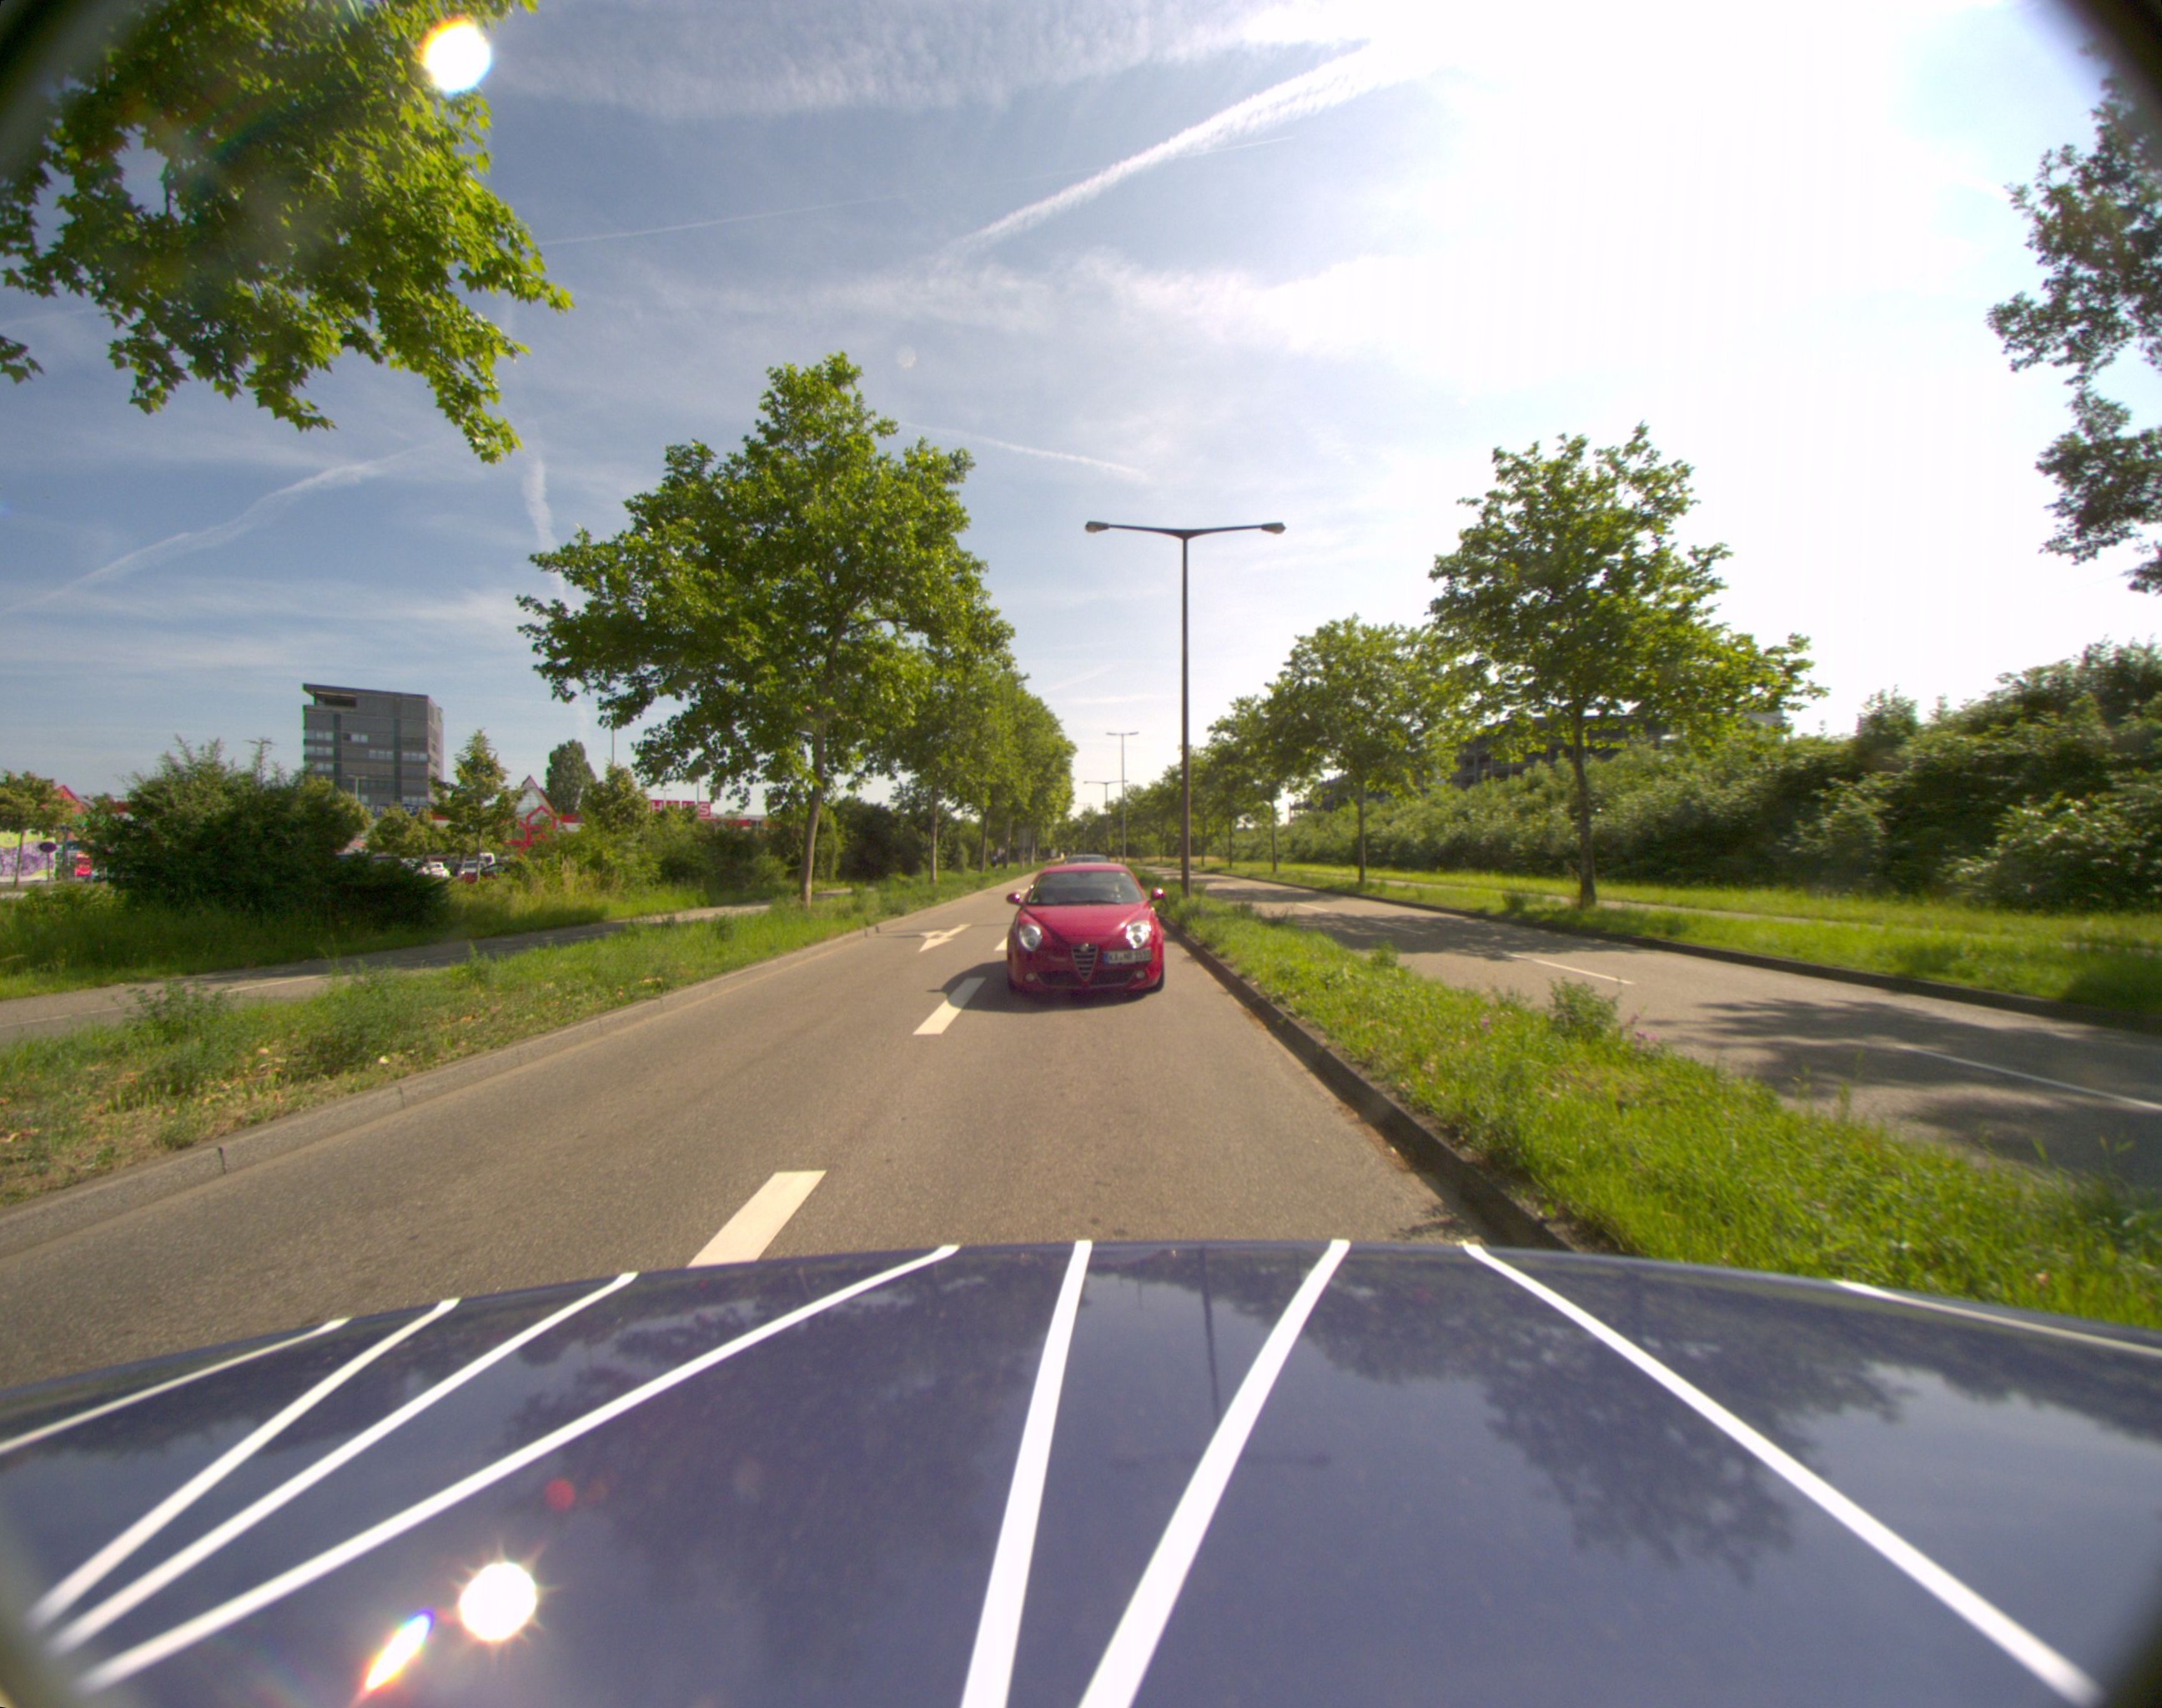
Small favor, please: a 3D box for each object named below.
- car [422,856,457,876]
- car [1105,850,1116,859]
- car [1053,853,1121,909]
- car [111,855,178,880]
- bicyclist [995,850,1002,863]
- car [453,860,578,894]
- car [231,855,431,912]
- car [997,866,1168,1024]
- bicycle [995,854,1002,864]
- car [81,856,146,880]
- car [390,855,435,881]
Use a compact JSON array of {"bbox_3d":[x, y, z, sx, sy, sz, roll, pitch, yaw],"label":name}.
[{"bbox_3d":[-49.475,0.880,58.622,1.693,1.447,3.989,0,1,-35],"label":"car"},{"bbox_3d":[5.248,0.128,135.155,1.868,1.459,3.937,-1,1,0],"label":"car"},{"bbox_3d":[0.209,0.753,23.369,1.874,1.536,4.081,-1,0,1],"label":"car"},{"bbox_3d":[-61.424,0.861,49.903,1.693,1.565,3.989,0,1,-35],"label":"car"},{"bbox_3d":[-10.278,0.319,94.722,0.687,1.622,1.002,0,1,1],"label":"bicyclist"},{"bbox_3d":[-22.429,0.901,30.245,3.563,1.292,1.766,0,1,-6],"label":"car"},{"bbox_3d":[-22.005,0.829,22.445,3.861,1.576,1.848,0,1,-6],"label":"car"},{"bbox_3d":[0.050,0.940,9.514,1.658,1.430,3.908,-2,0,1],"label":"car"},{"bbox_3d":[-10.277,0.655,94.669,0.687,1.230,1.934,0,1,1],"label":"bicycle"},{"bbox_3d":[-67.295,0.918,52.901,1.693,1.565,3.989,0,1,-35],"label":"car"},{"bbox_3d":[-42.730,0.857,48.659,1.693,1.565,3.989,0,1,-35],"label":"car"}]
